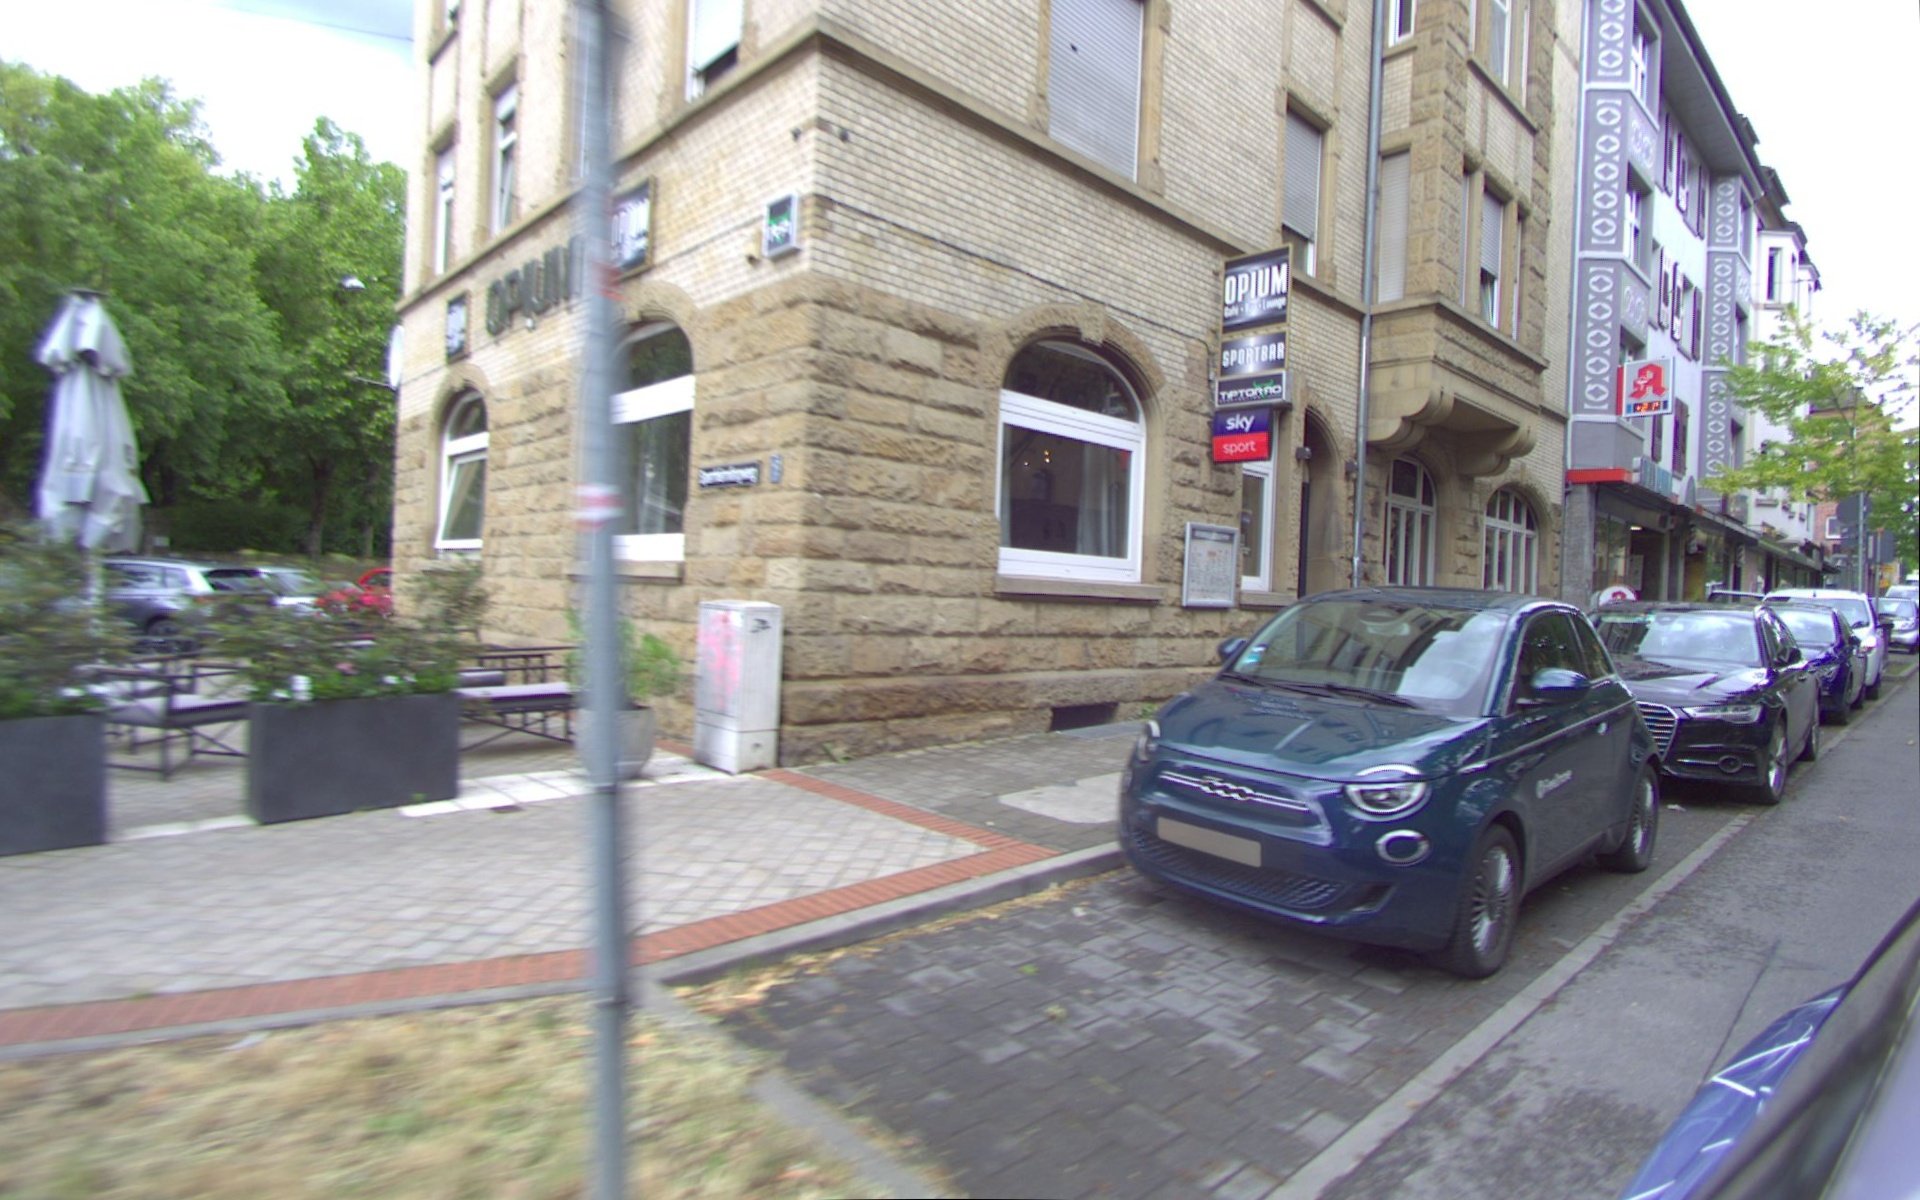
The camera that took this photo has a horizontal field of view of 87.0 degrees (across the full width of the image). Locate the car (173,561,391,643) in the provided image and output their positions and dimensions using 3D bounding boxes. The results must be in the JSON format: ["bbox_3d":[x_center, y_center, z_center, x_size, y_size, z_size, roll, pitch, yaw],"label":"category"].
[{"bbox_3d":[-12.705,0.033,19.099,3.116,1.419,1.473,-1,0,-2],"label":"car"}]

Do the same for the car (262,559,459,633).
[{"bbox_3d":[-12.572,-0.078,21.338,3.232,1.455,1.549,-1,0,0],"label":"car"}]

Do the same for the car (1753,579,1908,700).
[{"bbox_3d":[14.552,0.547,16.834,1.679,1.683,4.472,4,3,43],"label":"car"}]

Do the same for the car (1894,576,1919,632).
[{"bbox_3d":[35.851,0.162,37.379,1.907,1.954,4.843,3,2,43],"label":"car"}]

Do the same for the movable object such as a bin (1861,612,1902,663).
[{"bbox_3d":[19.422,0.784,21.330,0.622,1.037,0.685,1,1,45],"label":"movable object such as a bin"}]

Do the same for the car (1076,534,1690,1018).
[{"bbox_3d":[2.374,0.561,5.213,3.593,1.630,1.567,0,2,-43],"label":"car"}]

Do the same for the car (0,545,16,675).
[{"bbox_3d":[-14.061,0.108,11.807,4.290,1.616,2.000,1,1,1],"label":"car"}]

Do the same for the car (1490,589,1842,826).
[{"bbox_3d":[6.405,0.690,8.926,1.740,1.481,4.698,4,3,44],"label":"car"}]

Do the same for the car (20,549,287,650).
[{"bbox_3d":[-12.956,-0.013,16.388,3.099,1.555,1.549,0,0,0],"label":"car"}]

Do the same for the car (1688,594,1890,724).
[{"bbox_3d":[11.250,0.663,13.624,4.206,1.414,1.607,0,3,-44],"label":"car"}]

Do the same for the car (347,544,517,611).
[{"bbox_3d":[-12.466,-0.515,24.038,3.232,1.494,1.549,-1,0,0],"label":"car"}]

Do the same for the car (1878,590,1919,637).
[{"bbox_3d":[31.828,0.444,33.610,3.974,1.433,1.685,0,2,-44],"label":"car"}]

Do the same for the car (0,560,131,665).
[{"bbox_3d":[-13.770,0.140,14.057,3.232,1.375,1.549,1,0,0],"label":"car"}]

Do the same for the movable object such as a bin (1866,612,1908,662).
[{"bbox_3d":[20.131,0.796,21.984,0.621,1.037,0.687,1,1,39],"label":"movable object such as a bin"}]

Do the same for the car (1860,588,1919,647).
[{"bbox_3d":[26.986,0.489,28.961,3.462,1.553,1.484,0,2,-43],"label":"car"}]
